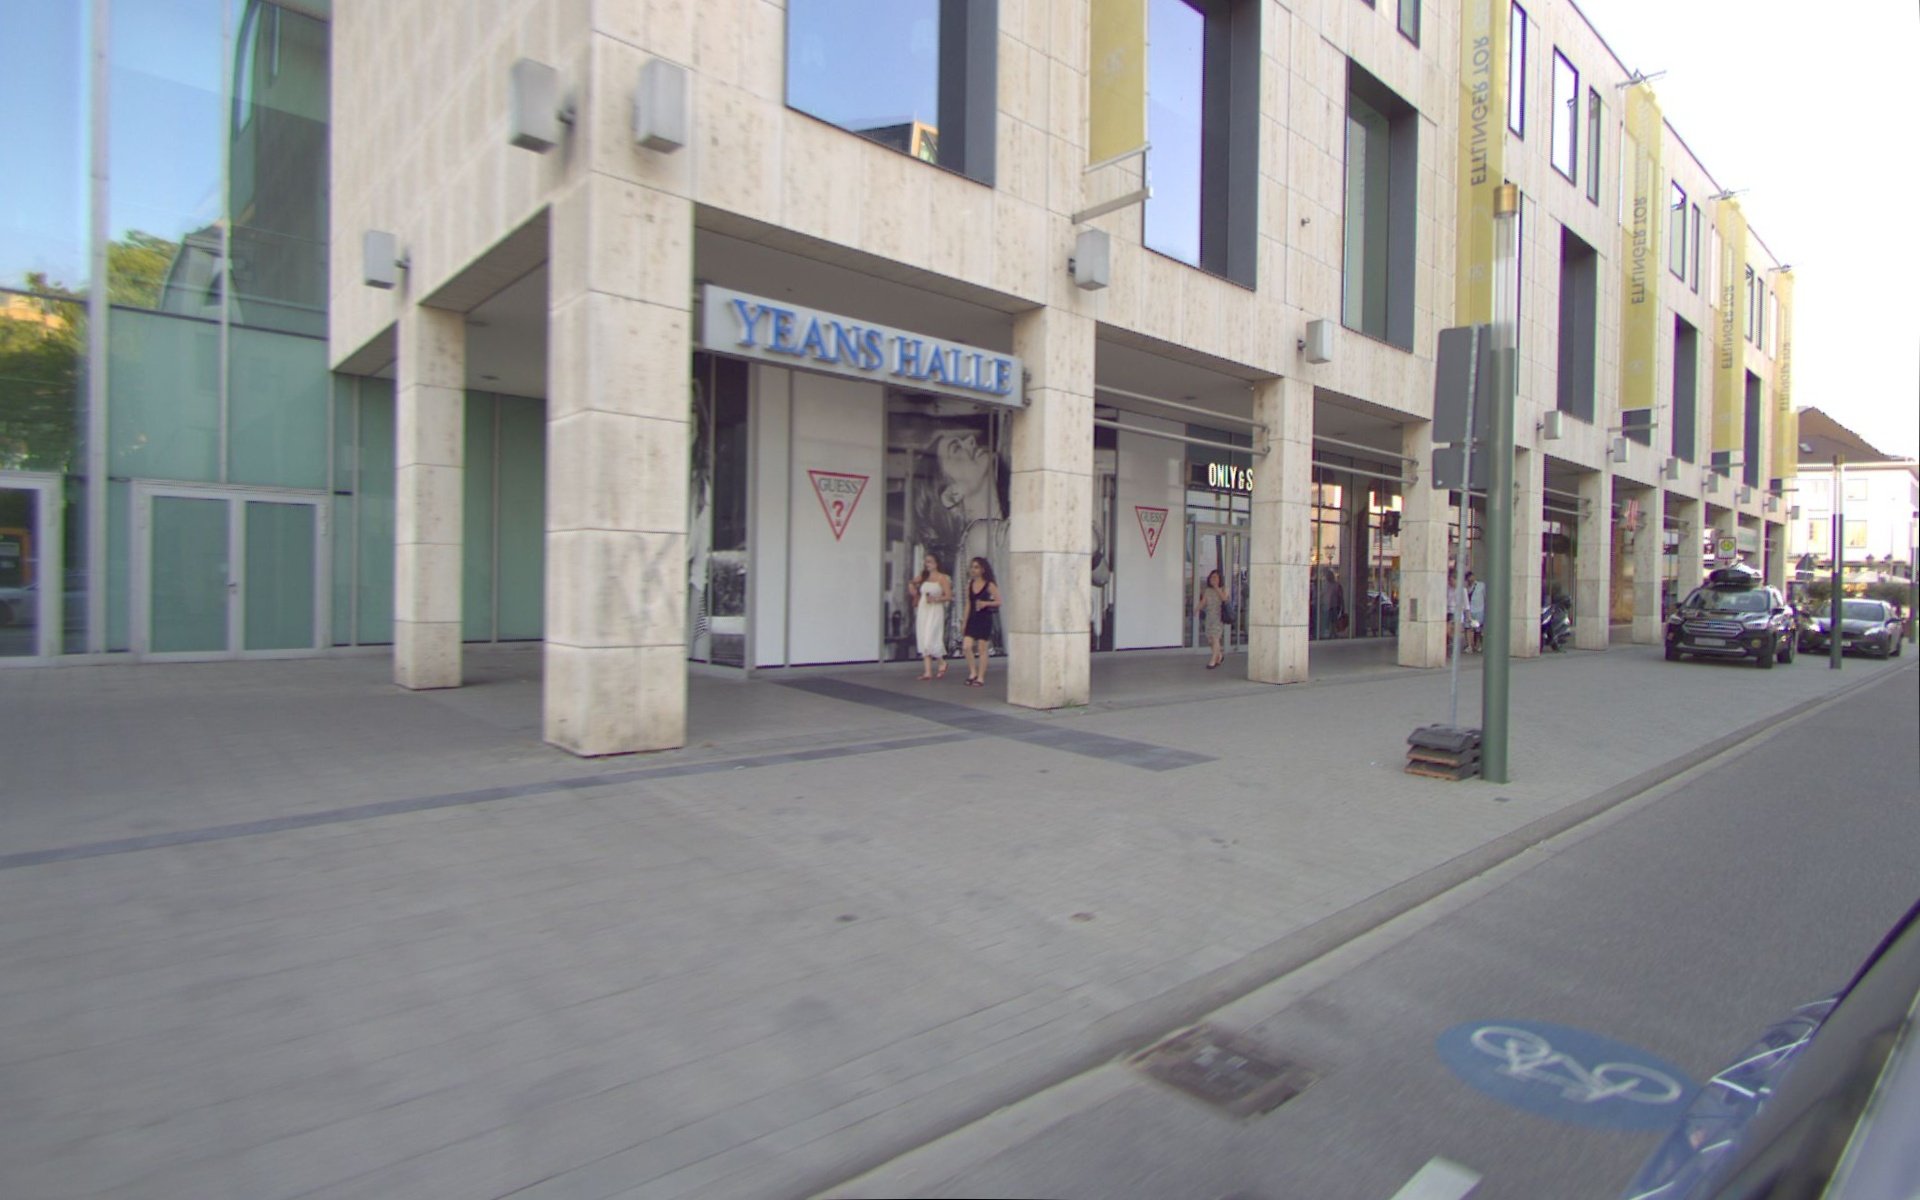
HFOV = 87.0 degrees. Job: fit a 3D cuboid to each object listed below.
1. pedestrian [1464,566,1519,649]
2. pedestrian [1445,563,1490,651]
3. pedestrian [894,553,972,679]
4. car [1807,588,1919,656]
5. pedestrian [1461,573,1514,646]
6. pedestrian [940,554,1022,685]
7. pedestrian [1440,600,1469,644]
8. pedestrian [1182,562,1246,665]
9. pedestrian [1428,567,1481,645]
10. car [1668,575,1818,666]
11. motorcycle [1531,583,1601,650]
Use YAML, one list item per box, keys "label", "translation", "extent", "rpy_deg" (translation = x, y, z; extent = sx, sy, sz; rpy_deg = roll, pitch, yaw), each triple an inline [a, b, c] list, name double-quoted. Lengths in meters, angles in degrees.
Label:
- label: "pedestrian"
  translation: [11.286, 0.155, 21.502]
  extent: [0.862, 1.703, 0.765]
  rpy_deg: [3, -1, -43]
- label: "pedestrian"
  translation: [10.080, 0.126, 20.105]
  extent: [0.685, 1.720, 0.591]
  rpy_deg: [1, 1, -45]
- label: "pedestrian"
  translation: [-0.347, 0.191, 13.009]
  extent: [0.762, 1.562, 0.634]
  rpy_deg: [0, 0, -43]
- label: "car"
  translation: [23.631, 0.502, 26.364]
  extent: [4.121, 1.508, 1.799]
  rpy_deg: [0, 4, -42]
- label: "pedestrian"
  translation: [11.707, 0.211, 22.462]
  extent: [0.862, 1.587, 0.765]
  rpy_deg: [3, -1, -43]
- label: "pedestrian"
  translation: [0.259, 0.222, 12.535]
  extent: [0.716, 1.561, 0.725]
  rpy_deg: [0, 0, -43]
- label: "pedestrian"
  translation: [11.576, 0.522, 23.687]
  extent: [0.517, 0.998, 0.420]
  rpy_deg: [3, -1, -43]
- label: "pedestrian"
  translation: [4.046, 0.211, 16.092]
  extent: [0.762, 1.588, 0.634]
  rpy_deg: [3, -1, -43]
- label: "pedestrian"
  translation: [10.948, 0.133, 22.419]
  extent: [0.862, 1.703, 0.765]
  rpy_deg: [3, -1, -43]
- label: "car"
  translation: [16.753, 0.374, 21.589]
  extent: [3.988, 1.657, 1.772]
  rpy_deg: [0, 4, -42]
- label: "motorcycle"
  translation: [13.456, 0.344, 22.461]
  extent: [2.098, 1.434, 0.694]
  rpy_deg: [0, 1, -41]
